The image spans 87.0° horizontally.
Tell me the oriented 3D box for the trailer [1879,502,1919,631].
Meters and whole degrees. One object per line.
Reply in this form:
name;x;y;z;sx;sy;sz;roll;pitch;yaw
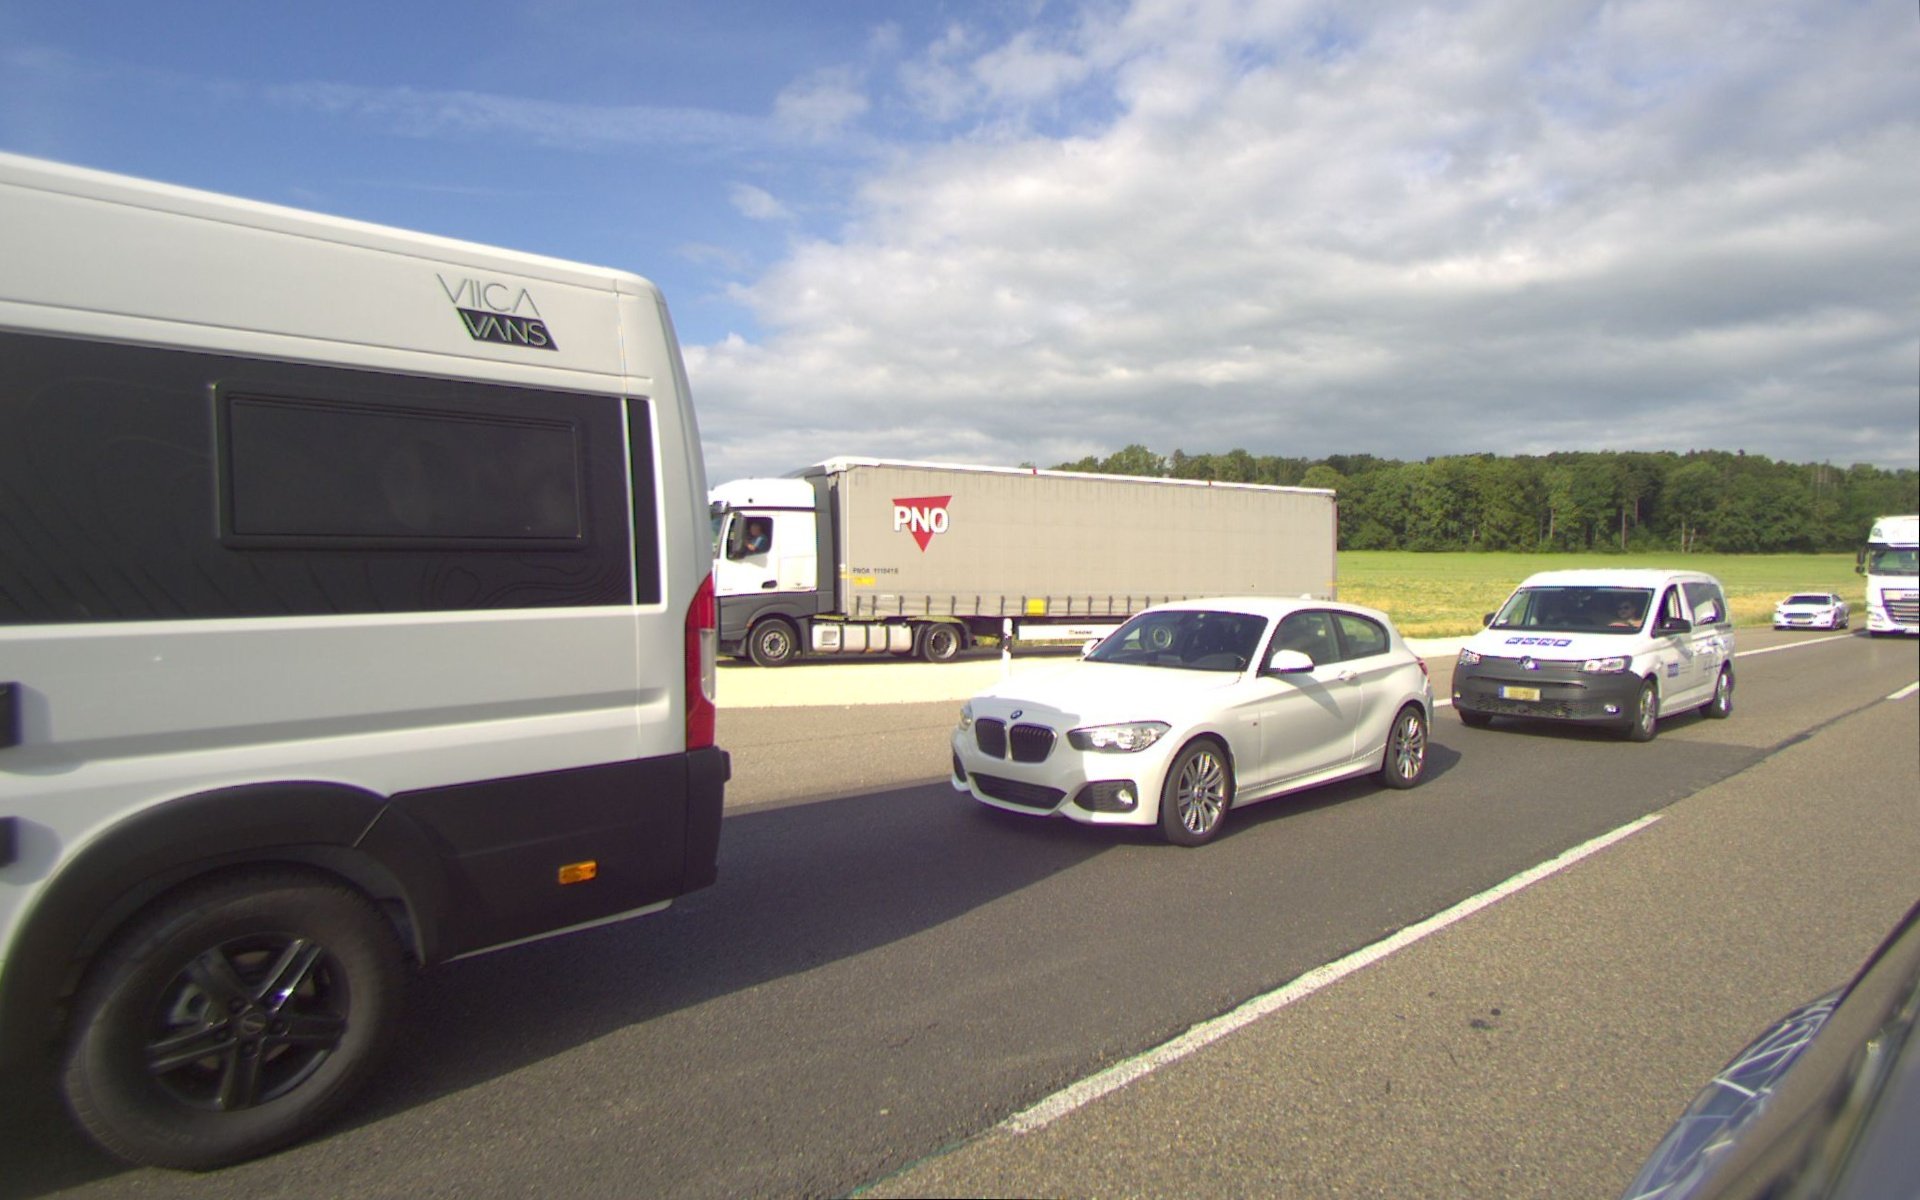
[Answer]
trailer;36.650;-1.222;37.208;13.777;4.212;2.739;-1;1;-41

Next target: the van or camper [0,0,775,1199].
van or camper;-3.681;0.017;2.191;6.222;2.714;2.219;0;1;-41

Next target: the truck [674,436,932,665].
truck;-3.269;-0.924;20.909;4.662;4.226;2.727;0;0;-26

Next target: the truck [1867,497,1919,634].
truck;31.743;-1.106;32.885;5.667;4.226;2.733;-1;1;-41

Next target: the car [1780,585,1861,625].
car;33.726;0.162;39.620;4.551;1.450;1.869;0;1;-43

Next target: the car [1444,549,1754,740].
car;7.442;0.398;11.580;4.620;1.779;1.727;0;0;-41

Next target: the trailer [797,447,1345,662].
trailer;3.105;-0.912;24.024;13.543;4.213;2.748;0;0;-26

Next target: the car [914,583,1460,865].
car;1.817;0.620;7.240;4.158;1.450;1.706;0;0;-41
